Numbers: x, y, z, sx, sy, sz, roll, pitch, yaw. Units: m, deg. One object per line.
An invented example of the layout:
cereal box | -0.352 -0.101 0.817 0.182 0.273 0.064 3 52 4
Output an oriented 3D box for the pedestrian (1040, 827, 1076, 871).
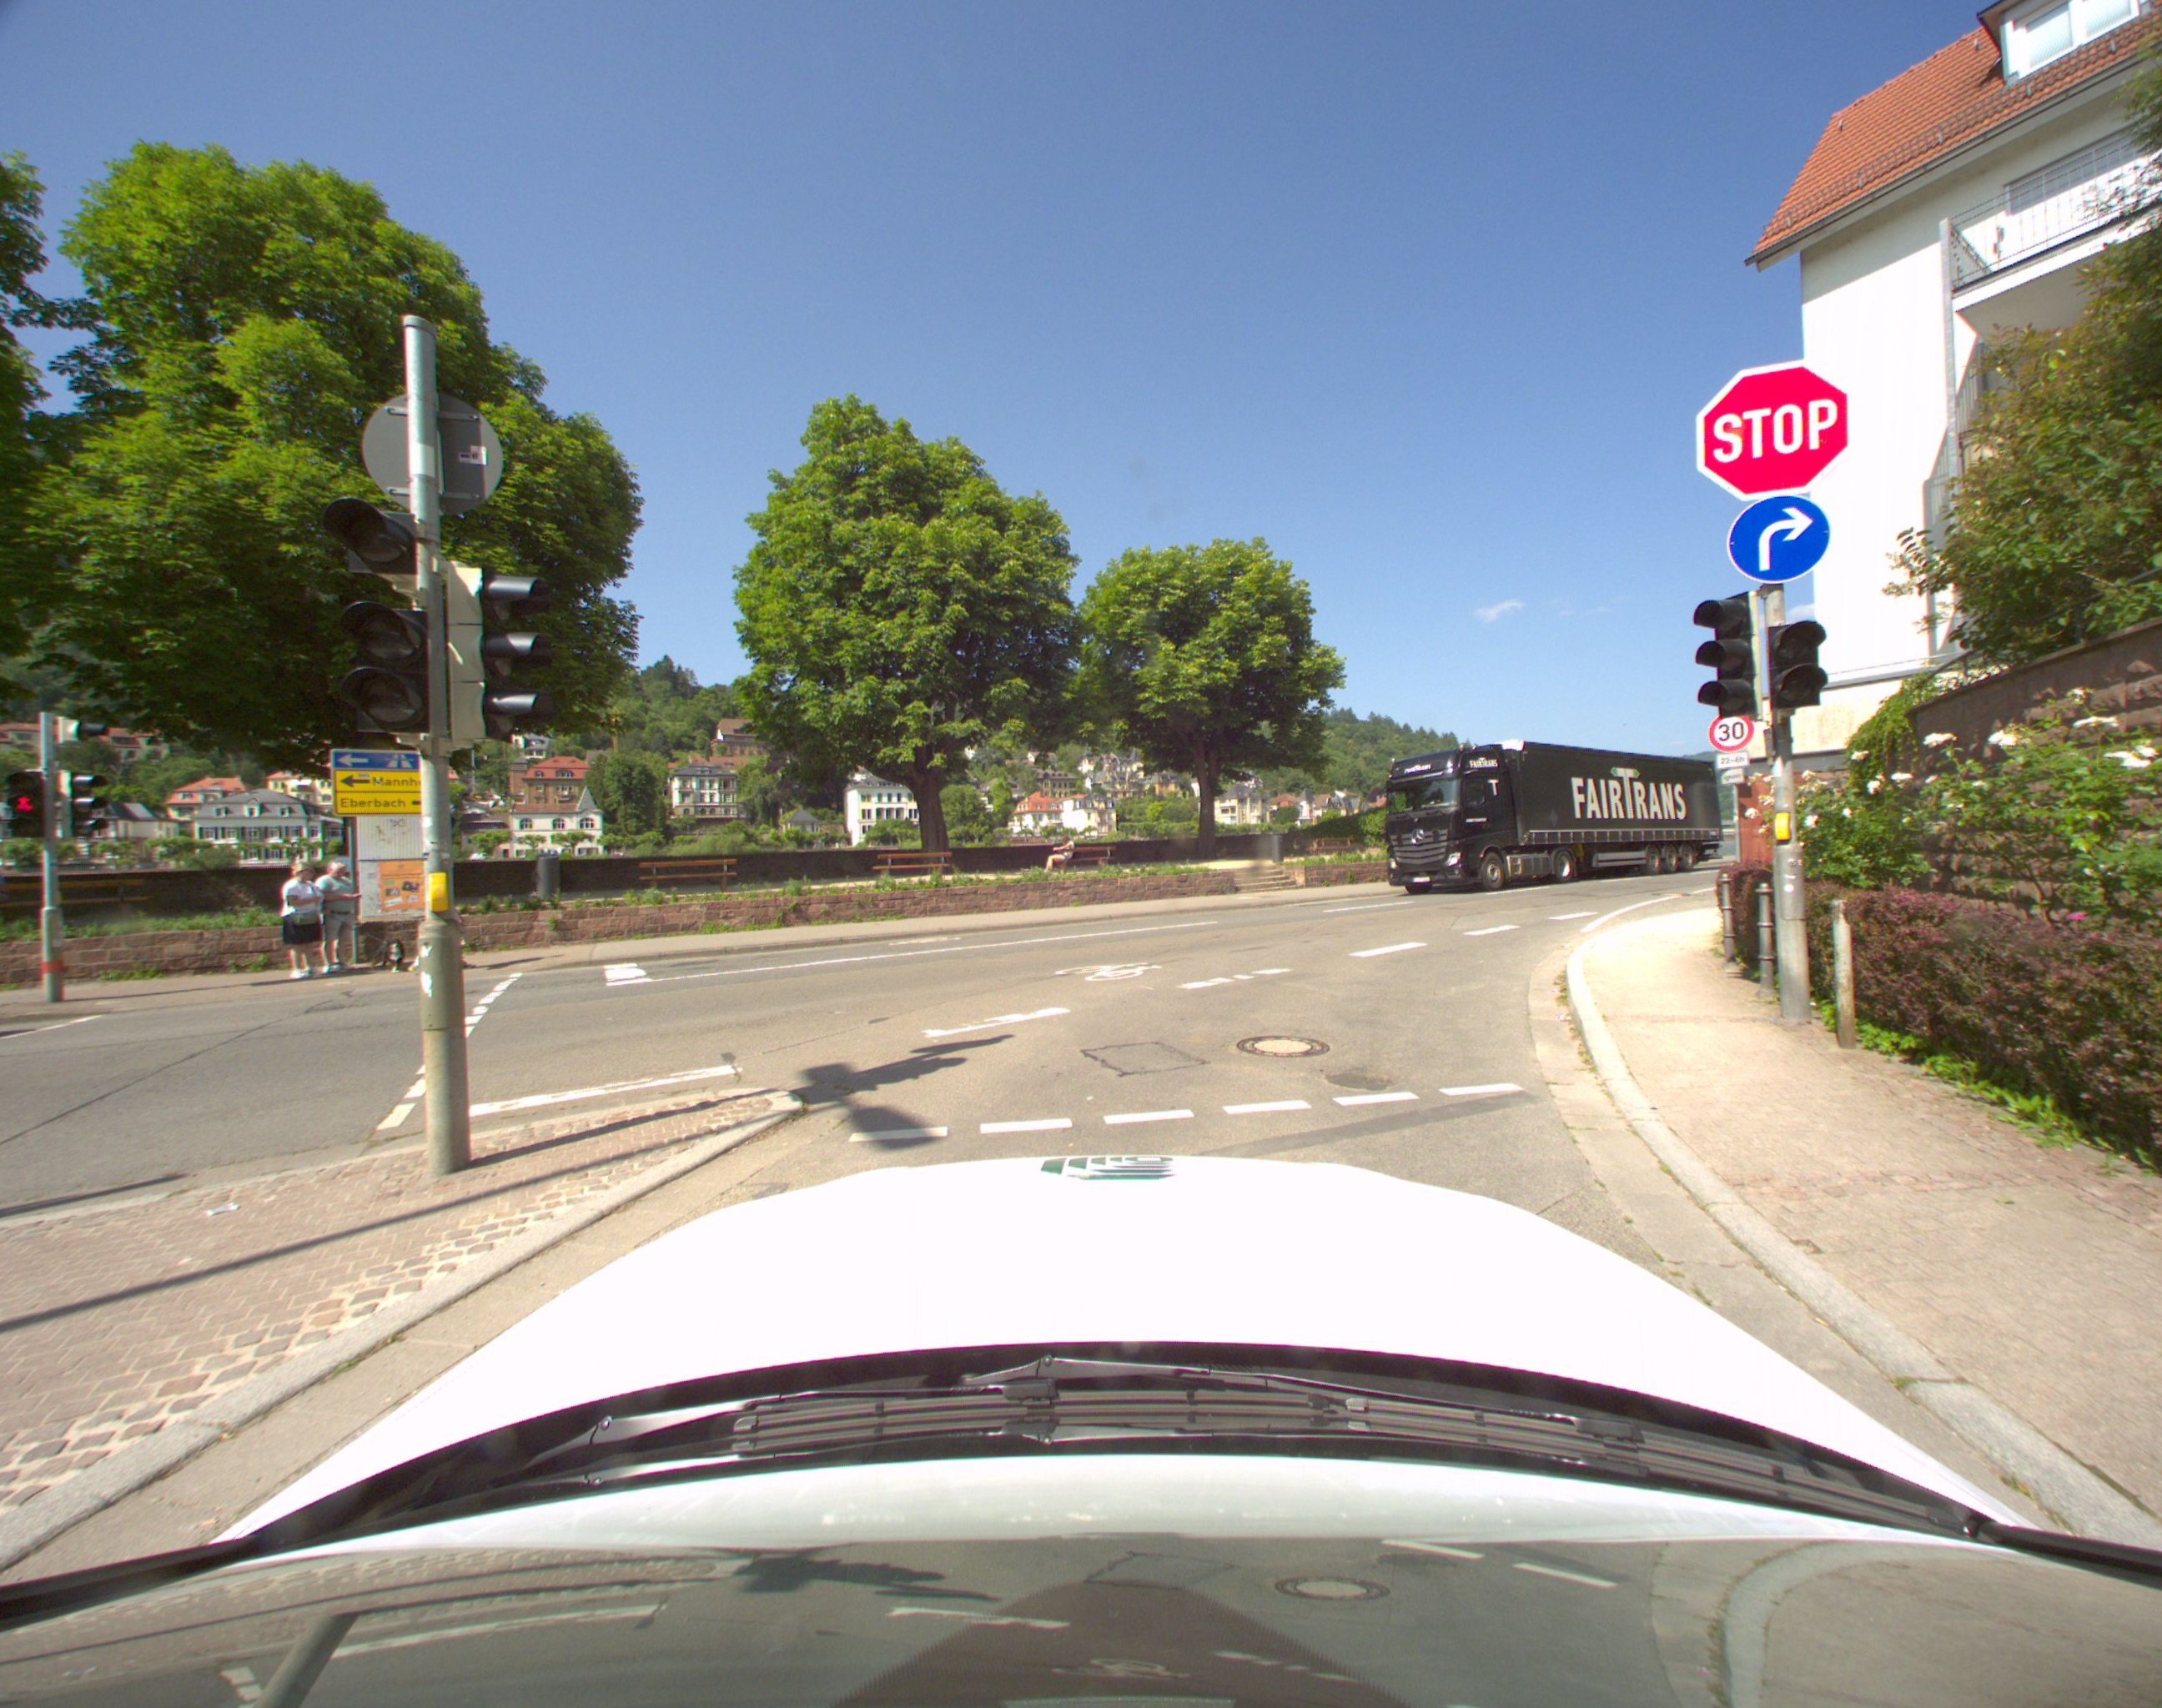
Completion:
pedestrian | -0.676 -0.140 23.954 0.802 1.211 0.708 0 -5 -29

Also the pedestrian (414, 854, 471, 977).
pedestrian | -9.813 0.918 12.511 0.583 1.802 0.697 -2 -1 -43

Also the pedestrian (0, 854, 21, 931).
pedestrian | -17.526 0.633 13.009 0.409 1.228 0.647 -4 -1 43

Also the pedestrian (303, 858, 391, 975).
pedestrian | -11.644 0.969 12.934 0.687 1.769 0.716 -3 -1 -4

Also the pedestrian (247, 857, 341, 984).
pedestrian | -11.755 0.976 12.177 0.627 1.802 0.727 -4 -1 18

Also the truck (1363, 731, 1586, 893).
truck | 11.321 -1.127 23.328 5.954 4.071 2.810 -3 -2 -32

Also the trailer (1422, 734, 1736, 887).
trailer | 16.933 -1.404 26.917 13.822 4.104 2.813 -3 -2 -32
